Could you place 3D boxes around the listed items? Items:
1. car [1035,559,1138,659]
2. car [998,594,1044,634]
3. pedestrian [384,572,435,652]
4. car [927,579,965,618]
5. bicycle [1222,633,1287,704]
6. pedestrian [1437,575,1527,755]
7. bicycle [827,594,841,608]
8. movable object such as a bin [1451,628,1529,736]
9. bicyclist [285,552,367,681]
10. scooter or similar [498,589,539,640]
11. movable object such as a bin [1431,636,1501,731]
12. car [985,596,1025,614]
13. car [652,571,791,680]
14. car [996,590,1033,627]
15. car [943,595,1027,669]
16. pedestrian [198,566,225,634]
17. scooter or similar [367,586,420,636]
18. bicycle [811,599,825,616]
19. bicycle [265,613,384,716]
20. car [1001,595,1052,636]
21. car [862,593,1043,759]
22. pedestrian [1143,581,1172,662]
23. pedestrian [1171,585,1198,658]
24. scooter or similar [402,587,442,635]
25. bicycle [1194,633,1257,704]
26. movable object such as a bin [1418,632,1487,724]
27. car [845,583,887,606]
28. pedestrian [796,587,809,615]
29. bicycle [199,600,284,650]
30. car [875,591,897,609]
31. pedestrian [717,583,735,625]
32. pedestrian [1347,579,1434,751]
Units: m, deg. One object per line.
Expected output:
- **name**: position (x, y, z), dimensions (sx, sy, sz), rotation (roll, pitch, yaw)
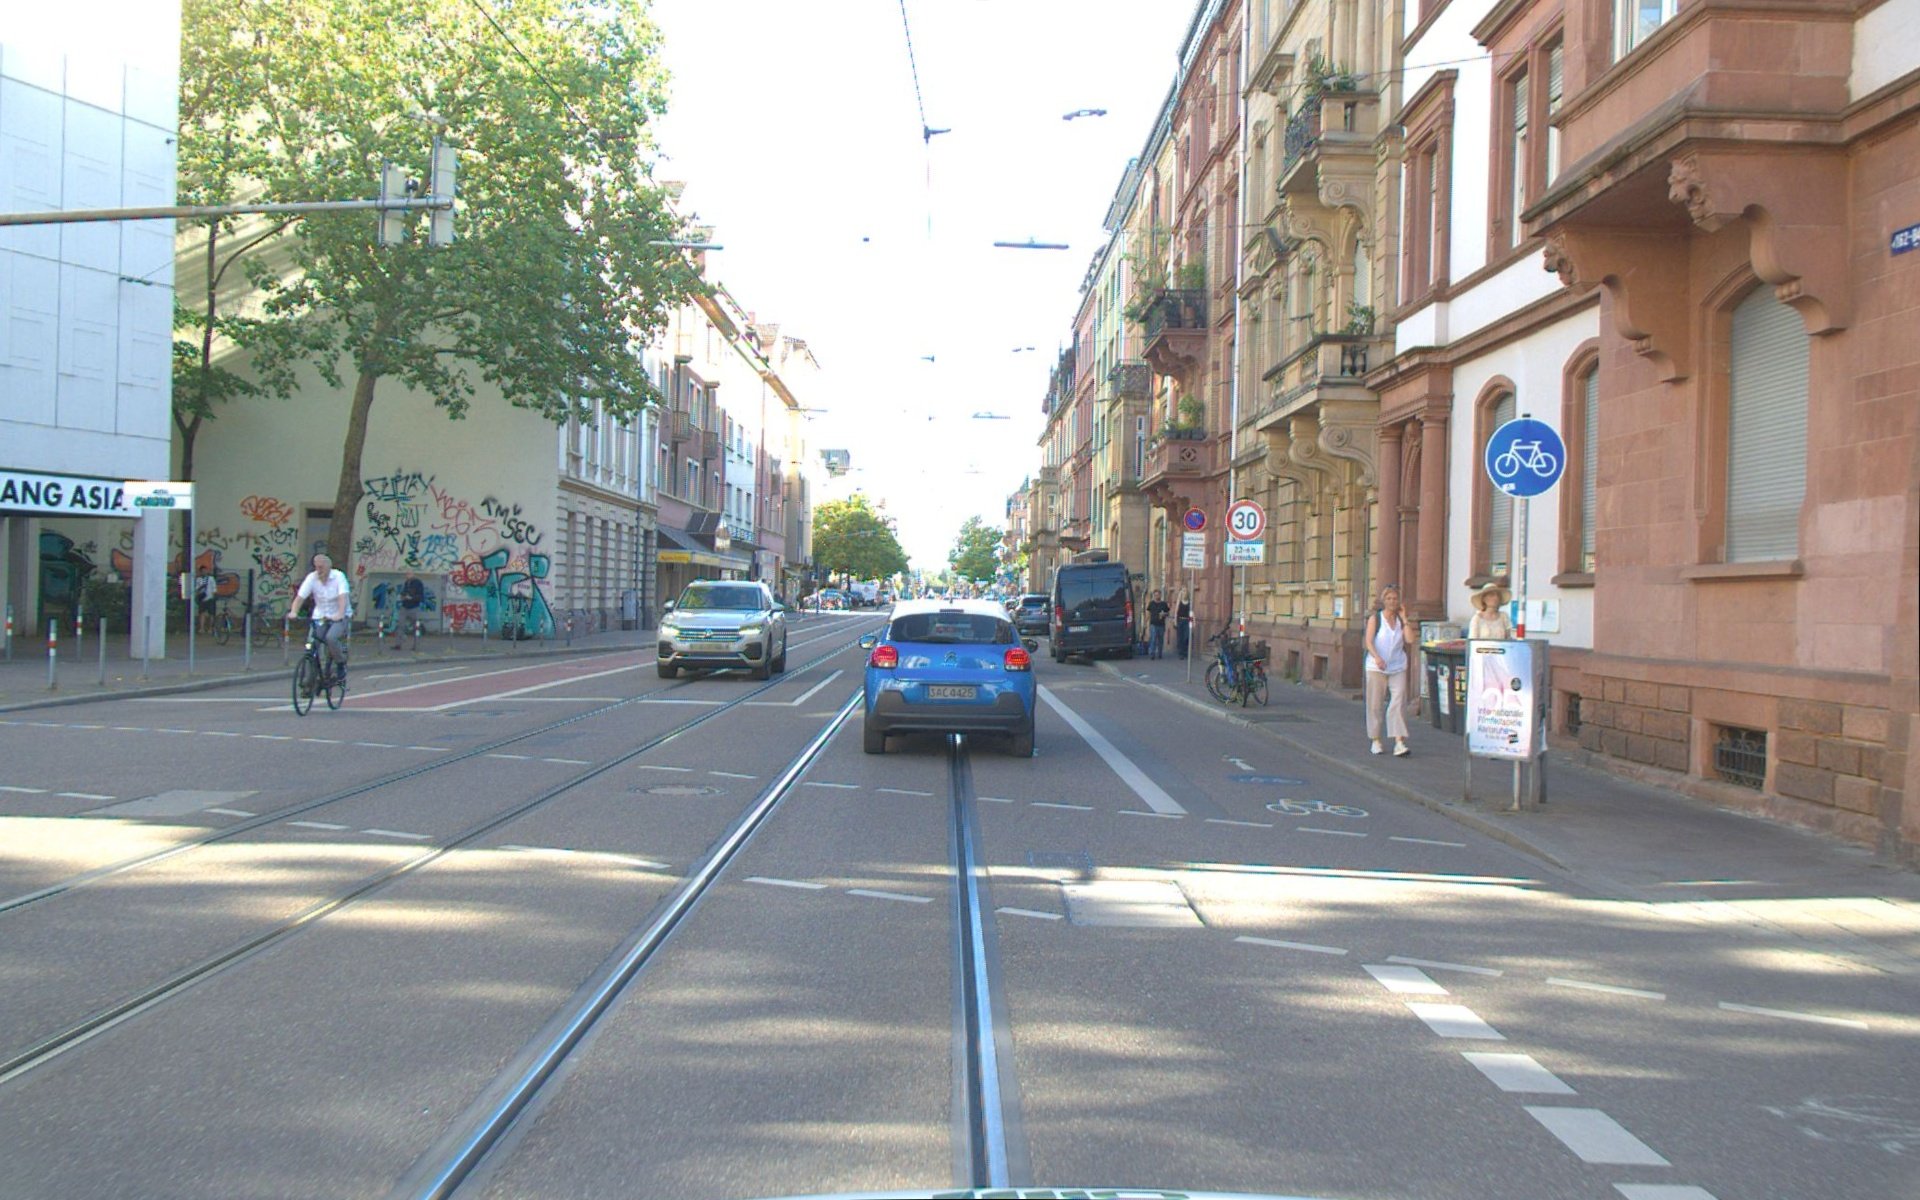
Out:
- **car**: position (3.347, 0.230, 44.988), dimensions (2.225, 2.479, 5.719), rotation (1, 0, -1)
- **car**: position (2.831, 0.635, 77.275), dimensions (1.867, 1.788, 3.999), rotation (1, 0, -2)
- **pedestrian**: position (-12.622, 0.265, 37.940), dimensions (0.668, 1.796, 1.026), rotation (1, 0, 10)
- **car**: position (-0.797, -0.073, 90.760), dimensions (1.953, 2.049, 3.999), rotation (1, 0, -2)
- **bicycle**: position (4.370, 1.001, 24.642), dimensions (0.423, 0.964, 1.760), rotation (1, 0, -8)
- **pedestrian**: position (5.375, 0.655, 17.063), dimensions (0.691, 1.813, 0.672), rotation (1, 0, -2)
- **bicycle**: position (-10.410, 0.087, 136.594), dimensions (1.099, 1.166, 3.639), rotation (1, 0, -6)
- **movable object such as a bin**: position (6.123, 0.937, 19.123), dimensions (0.652, 1.173, 0.594), rotation (-3, 1, -2)
- **bicyclist**: position (-7.614, 0.195, 19.881), dimensions (0.668, 1.509, 0.778), rotation (1, 0, -2)
- **scooter or similar**: position (-11.900, 0.392, 44.632), dimensions (0.772, 1.293, 1.074), rotation (4, 1, -2)
- **movable object such as a bin**: position (6.021, 0.985, 19.693), dimensions (0.652, 1.096, 0.571), rotation (0, 0, -2)
- **car**: position (4.416, 0.504, 161.905), dimensions (3.759, 1.646, 1.790), rotation (1, 0, -3)
- **car**: position (-4.229, 0.431, 30.011), dimensions (1.953, 1.774, 4.561), rotation (1, 0, -2)
- **car**: position (3.161, 0.490, 96.105), dimensions (1.964, 1.700, 4.394), rotation (0, 5, 0)
- **car**: position (0.500, 0.651, 36.049), dimensions (1.633, 1.504, 3.999), rotation (1, 0, -2)
- **pedestrian**: position (-19.430, -0.003, 42.938), dimensions (0.446, 1.748, 0.547), rotation (1, 0, -2)
- **scooter or similar**: position (-14.755, 0.285, 43.108), dimensions (1.207, 1.280, 0.765), rotation (1, 0, -13)
- **bicycle**: position (-11.734, 0.590, 136.442), dimensions (1.099, 1.342, 3.639), rotation (1, 0, -6)
- **bicycle**: position (-7.608, 0.746, 19.907), dimensions (0.678, 1.140, 2.083), rotation (0, 0, -2)
- **car**: position (2.854, 0.632, 72.265), dimensions (1.965, 1.702, 4.805), rotation (1, 0, -1)
- **car**: position (-0.161, 0.702, 17.307), dimensions (1.640, 1.503, 3.998), rotation (1, 0, -3)
- **pedestrian**: position (5.069, 0.543, 42.451), dimensions (0.573, 2.049, 0.823), rotation (1, 0, -2)
- **pedestrian**: position (5.670, 0.540, 41.755), dimensions (0.542, 1.813, 0.606), rotation (1, 0, -2)
- **scooter or similar**: position (-14.341, 0.279, 44.115), dimensions (0.921, 1.243, 0.765), rotation (1, 0, -13)
- **bicycle**: position (3.928, 0.998, 24.576), dimensions (0.423, 0.964, 1.760), rotation (1, 0, -8)
- **movable object such as a bin**: position (6.059, 0.950, 20.350), dimensions (0.652, 1.095, 0.571), rotation (1, 0, -2)
- **car**: position (-10.526, -0.597, 185.956), dimensions (4.256, 2.626, 2.191), rotation (0, 0, -27)
- **pedestrian**: position (-9.700, 0.064, 101.878), dimensions (0.671, 1.667, 0.675), rotation (1, 0, -2)
- **bicycle**: position (-15.940, 0.549, 36.687), dimensions (1.878, 1.052, 0.664), rotation (1, 0, 26)
- **car**: position (-7.169, 0.017, 160.581), dimensions (1.953, 1.680, 3.999), rotation (1, 0, -2)
- **pedestrian**: position (-10.075, 0.173, 71.304), dimensions (0.696, 1.795, 0.570), rotation (1, 0, -2)
- **pedestrian**: position (4.424, 0.654, 17.032), dimensions (0.615, 1.731, 0.681), rotation (1, 0, -10)
